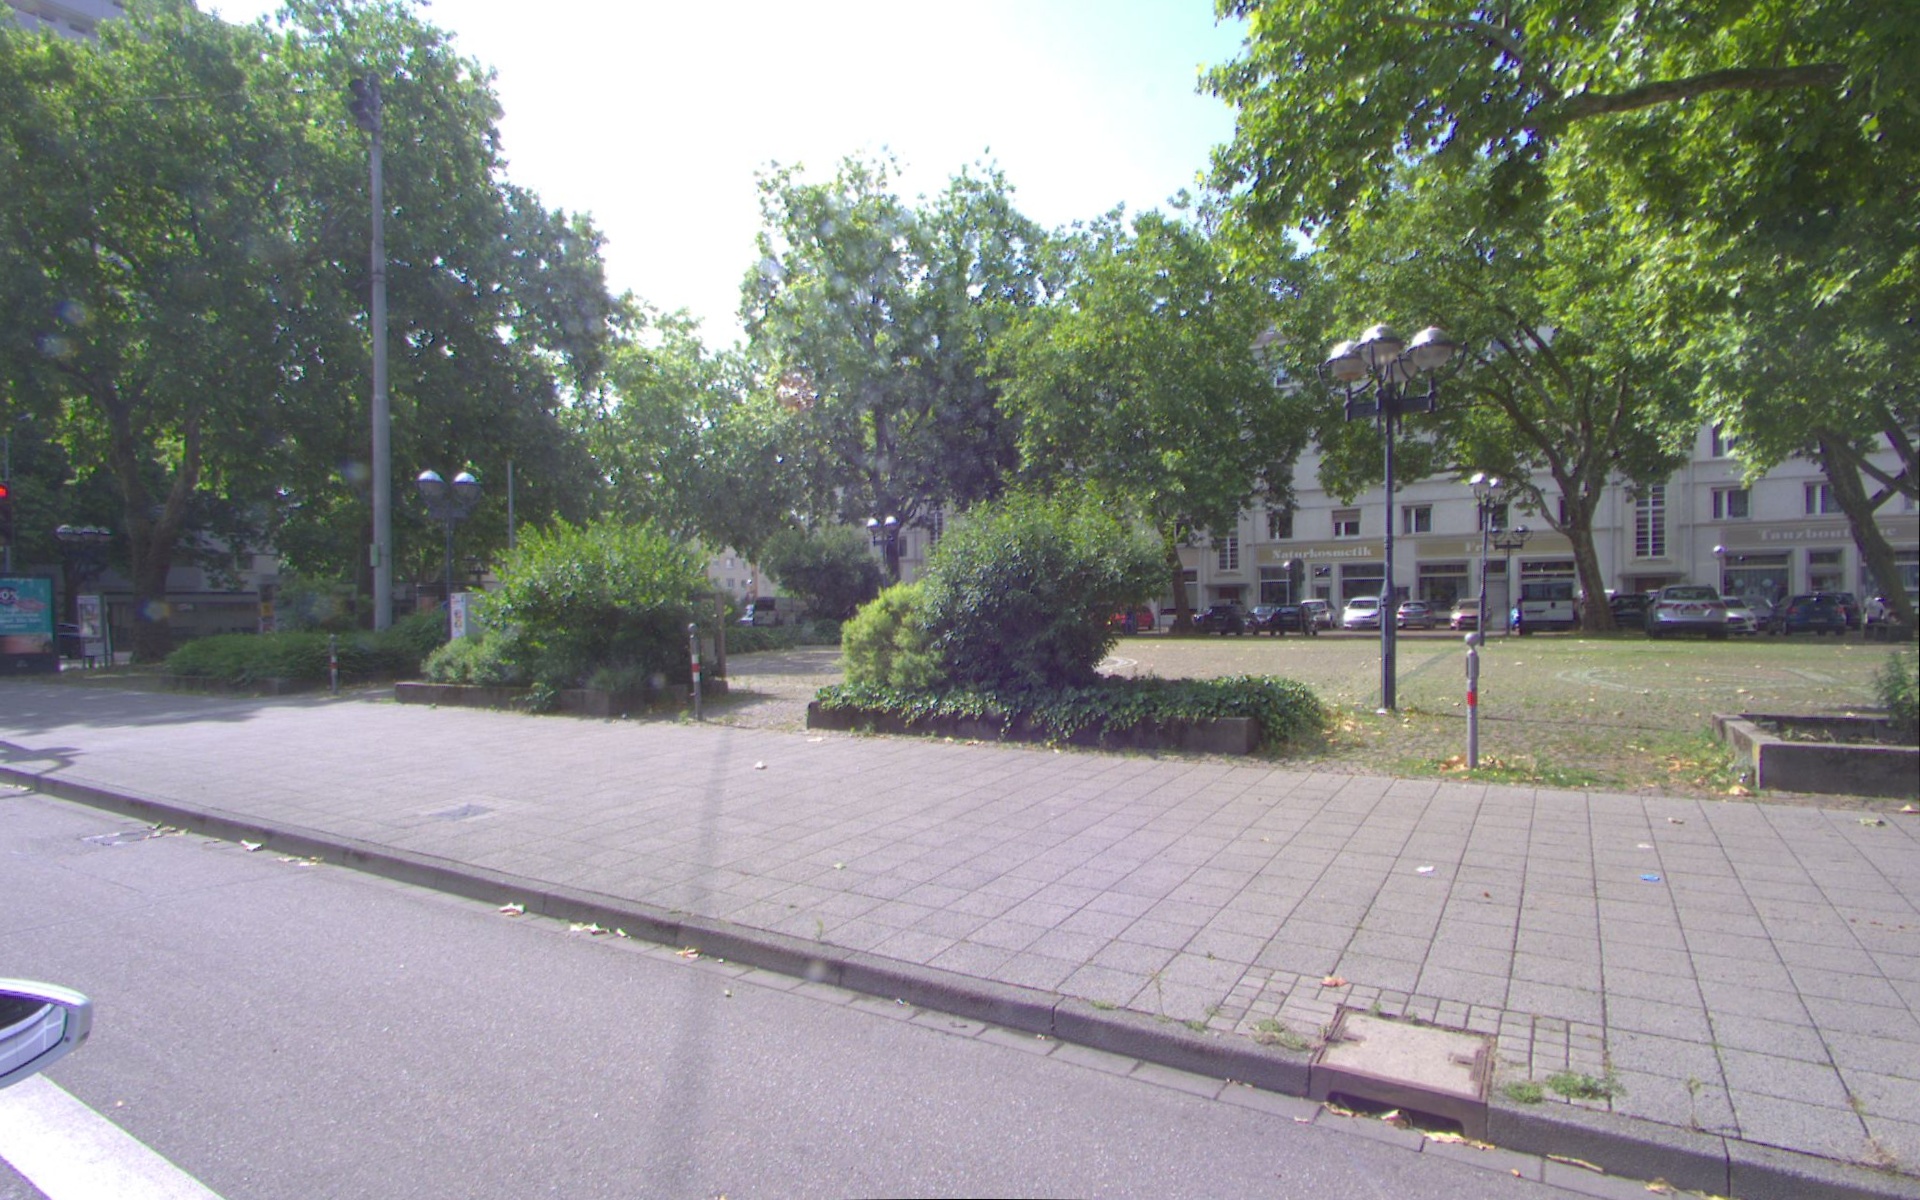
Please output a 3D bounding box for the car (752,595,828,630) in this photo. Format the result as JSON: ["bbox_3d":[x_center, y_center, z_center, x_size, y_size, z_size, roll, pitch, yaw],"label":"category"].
[{"bbox_3d":[-10.148,0.709,60.009,2.048,2.040,4.403,0,0,33],"label":"car"}]

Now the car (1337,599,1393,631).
[{"bbox_3d":[21.381,0.761,52.713,1.958,1.570,4.671,-1,0,32],"label":"car"}]

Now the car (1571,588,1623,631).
[{"bbox_3d":[30.350,0.425,47.747,2.009,1.955,4.671,0,0,32],"label":"car"}]

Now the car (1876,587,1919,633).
[{"bbox_3d":[39.586,0.372,41.151,2.161,1.828,4.730,0,0,34],"label":"car"}]

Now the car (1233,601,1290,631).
[{"bbox_3d":[16.783,0.856,55.620,1.958,1.541,4.245,-1,0,32],"label":"car"}]

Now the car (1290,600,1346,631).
[{"bbox_3d":[19.416,0.810,54.143,1.958,1.570,4.415,-1,0,32],"label":"car"}]

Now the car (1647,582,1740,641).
[{"bbox_3d":[22.005,0.322,30.186,1.971,1.657,4.143,0,0,32],"label":"car"}]

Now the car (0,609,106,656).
[{"bbox_3d":[-34.789,1.182,37.238,1.828,1.623,4.492,-1,0,9],"label":"car"}]

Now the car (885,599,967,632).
[{"bbox_3d":[-1.804,0.839,55.101,2.161,1.729,4.668,-1,0,34],"label":"car"}]

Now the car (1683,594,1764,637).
[{"bbox_3d":[27.277,0.509,35.880,1.931,1.440,4.156,-1,0,32],"label":"car"}]

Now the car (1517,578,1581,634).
[{"bbox_3d":[23.053,0.224,39.132,2.047,2.040,4.245,0,0,32],"label":"car"}]

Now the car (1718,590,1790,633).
[{"bbox_3d":[35.277,0.473,44.619,2.161,1.828,4.730,0,0,34],"label":"car"}]

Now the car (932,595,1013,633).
[{"bbox_3d":[0.744,0.731,54.033,2.161,1.955,4.668,0,0,34],"label":"car"}]

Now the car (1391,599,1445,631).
[{"bbox_3d":[23.732,0.743,51.752,1.958,1.570,4.671,-1,0,32],"label":"car"}]

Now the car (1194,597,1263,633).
[{"bbox_3d":[12.418,0.666,46.149,1.958,1.541,4.245,-1,0,32],"label":"car"}]

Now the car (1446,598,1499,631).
[{"bbox_3d":[25.859,0.716,50.439,2.009,1.570,4.671,-1,0,32],"label":"car"}]

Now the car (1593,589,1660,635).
[{"bbox_3d":[25.142,0.435,37.890,1.971,1.615,4.245,-1,0,32],"label":"car"}]

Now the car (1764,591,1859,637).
[{"bbox_3d":[30.083,0.459,35.490,1.971,1.544,4.143,-1,0,32],"label":"car"}]

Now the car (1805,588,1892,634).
[{"bbox_3d":[37.629,0.430,42.549,2.161,1.828,4.668,0,0,34],"label":"car"}]

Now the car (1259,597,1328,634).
[{"bbox_3d":[14.900,0.648,44.644,1.958,1.541,4.245,-1,0,32],"label":"car"}]
